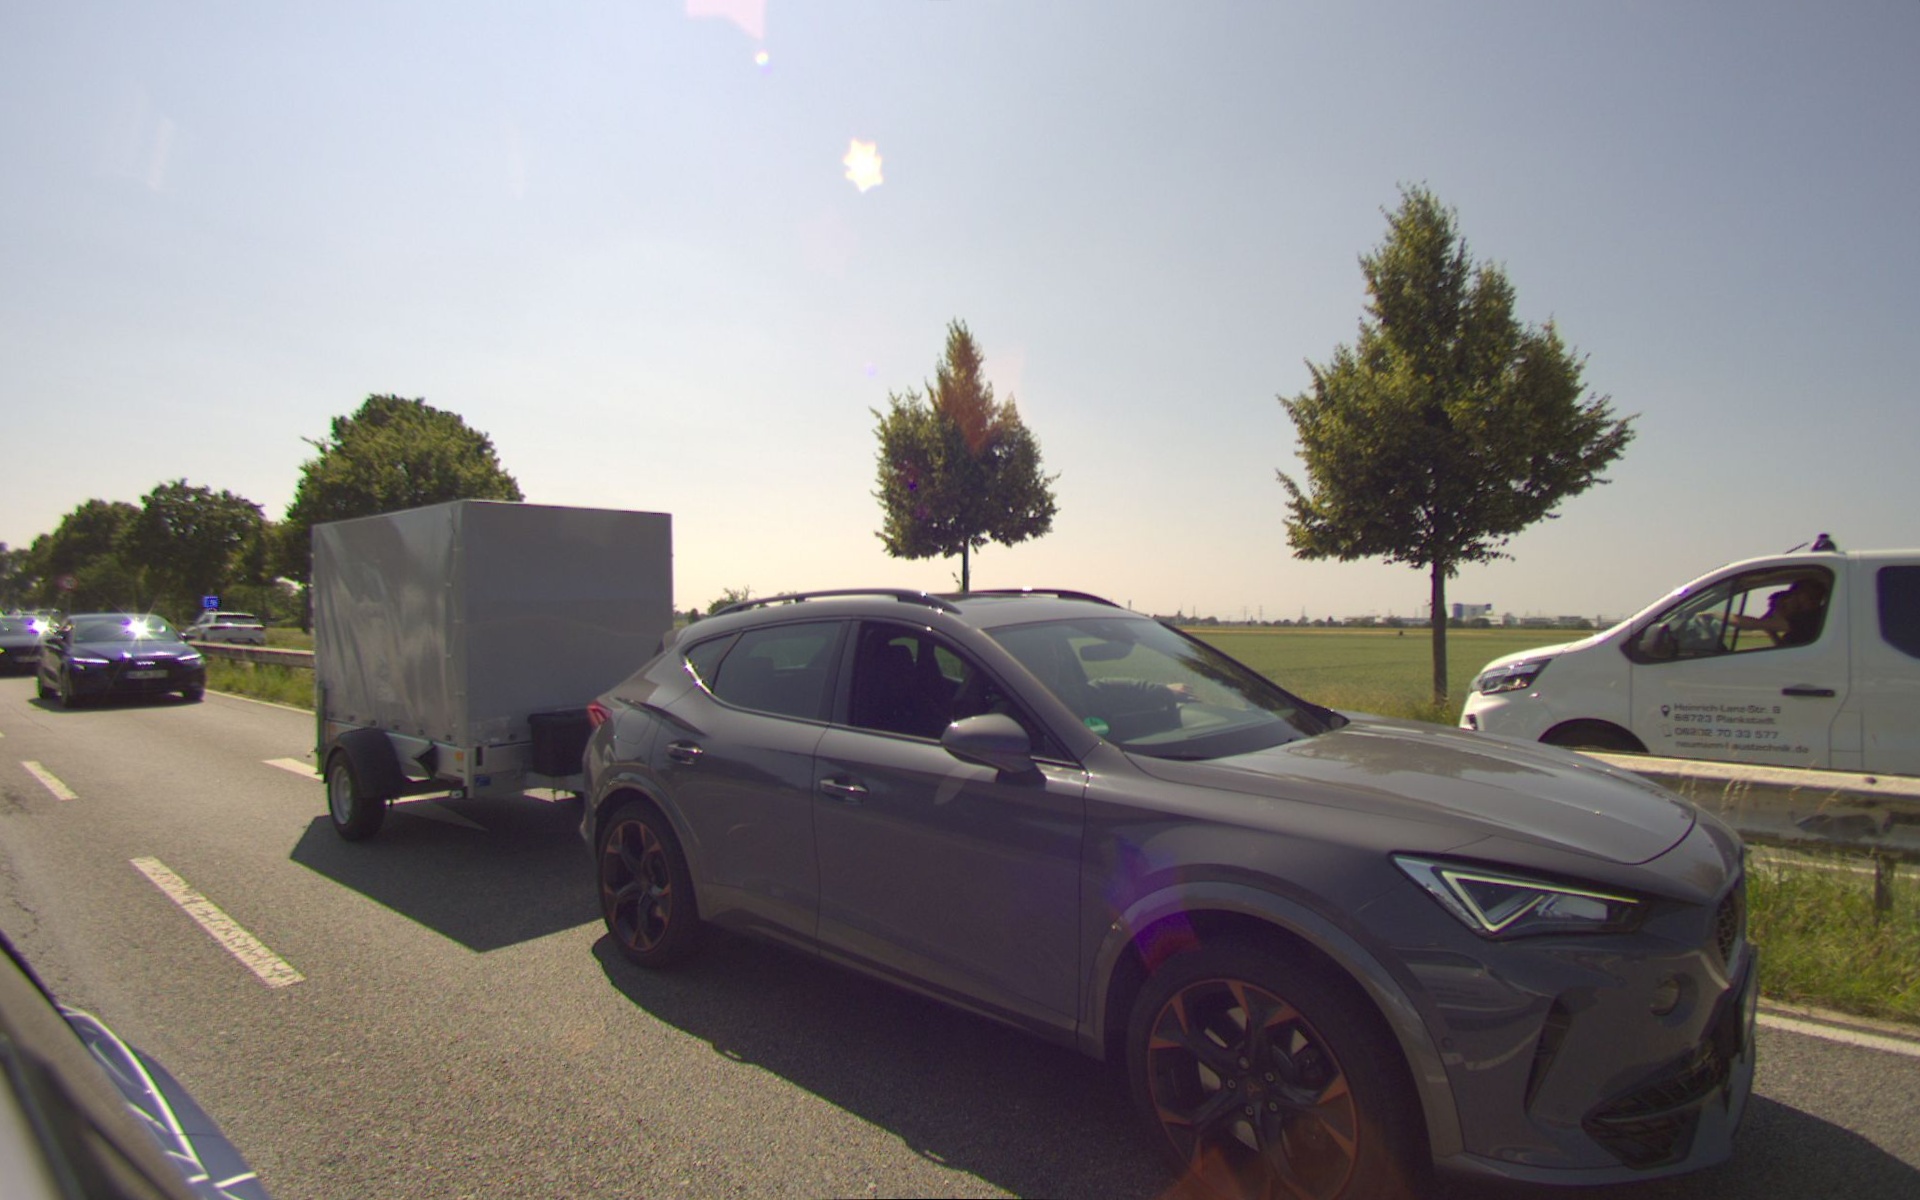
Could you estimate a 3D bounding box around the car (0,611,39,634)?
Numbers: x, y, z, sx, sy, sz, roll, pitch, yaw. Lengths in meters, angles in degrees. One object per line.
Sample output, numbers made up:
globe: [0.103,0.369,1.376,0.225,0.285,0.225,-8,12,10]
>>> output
car: [-67.054,1.606,72.131,4.136,1.651,1.726,-1,-2,43]

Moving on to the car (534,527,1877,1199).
car: [0.329,0.674,3.646,4.361,1.514,1.727,-1,-1,42]

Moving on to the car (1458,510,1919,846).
car: [6.331,0.484,6.814,5.013,1.995,1.973,-1,-2,41]

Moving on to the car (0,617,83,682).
car: [-22.471,1.126,24.215,4.454,1.391,1.722,-1,0,42]

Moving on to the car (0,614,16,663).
car: [-31.673,1.215,32.409,4.100,1.527,1.835,-1,0,43]

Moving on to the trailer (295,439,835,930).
trailer: [-2.748,0.402,6.462,4.173,2.190,1.484,-1,-1,42]

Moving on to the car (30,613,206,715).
car: [-14.054,0.970,16.816,4.029,1.476,1.699,-1,0,42]

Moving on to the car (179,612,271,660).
car: [-26.243,1.266,36.102,4.133,1.630,1.727,-1,-2,40]

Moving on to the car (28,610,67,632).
car: [-82.845,1.946,91.870,5.013,1.945,1.973,-1,-2,41]
